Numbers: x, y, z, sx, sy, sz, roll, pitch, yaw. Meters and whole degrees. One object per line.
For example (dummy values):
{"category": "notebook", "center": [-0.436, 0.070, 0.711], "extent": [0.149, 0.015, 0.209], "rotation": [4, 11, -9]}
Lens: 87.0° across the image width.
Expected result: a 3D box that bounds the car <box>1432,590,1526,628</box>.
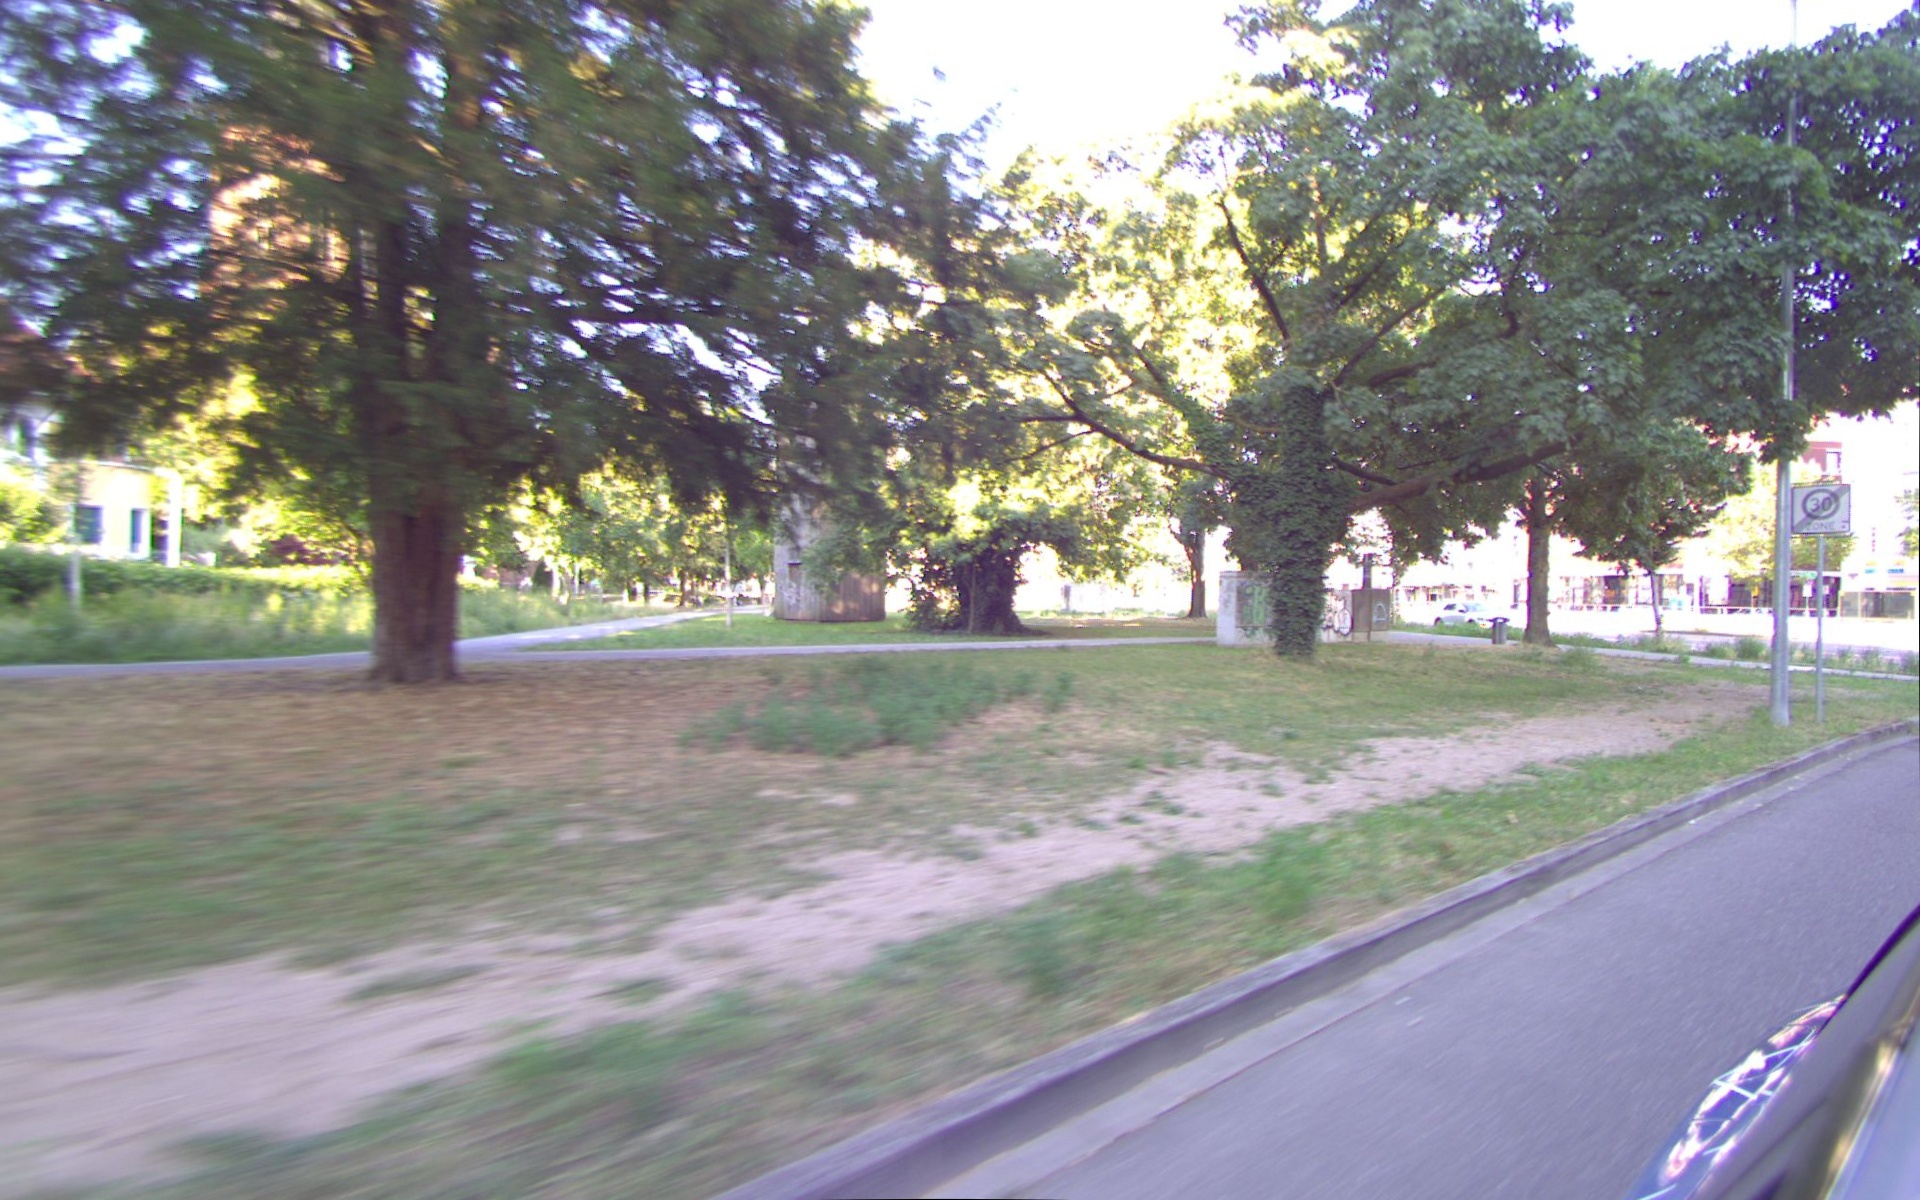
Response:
{"category": "car", "center": [23.153, 0.347, 45.349], "extent": [1.799, 1.556, 4.282], "rotation": [-1, 1, -3]}
